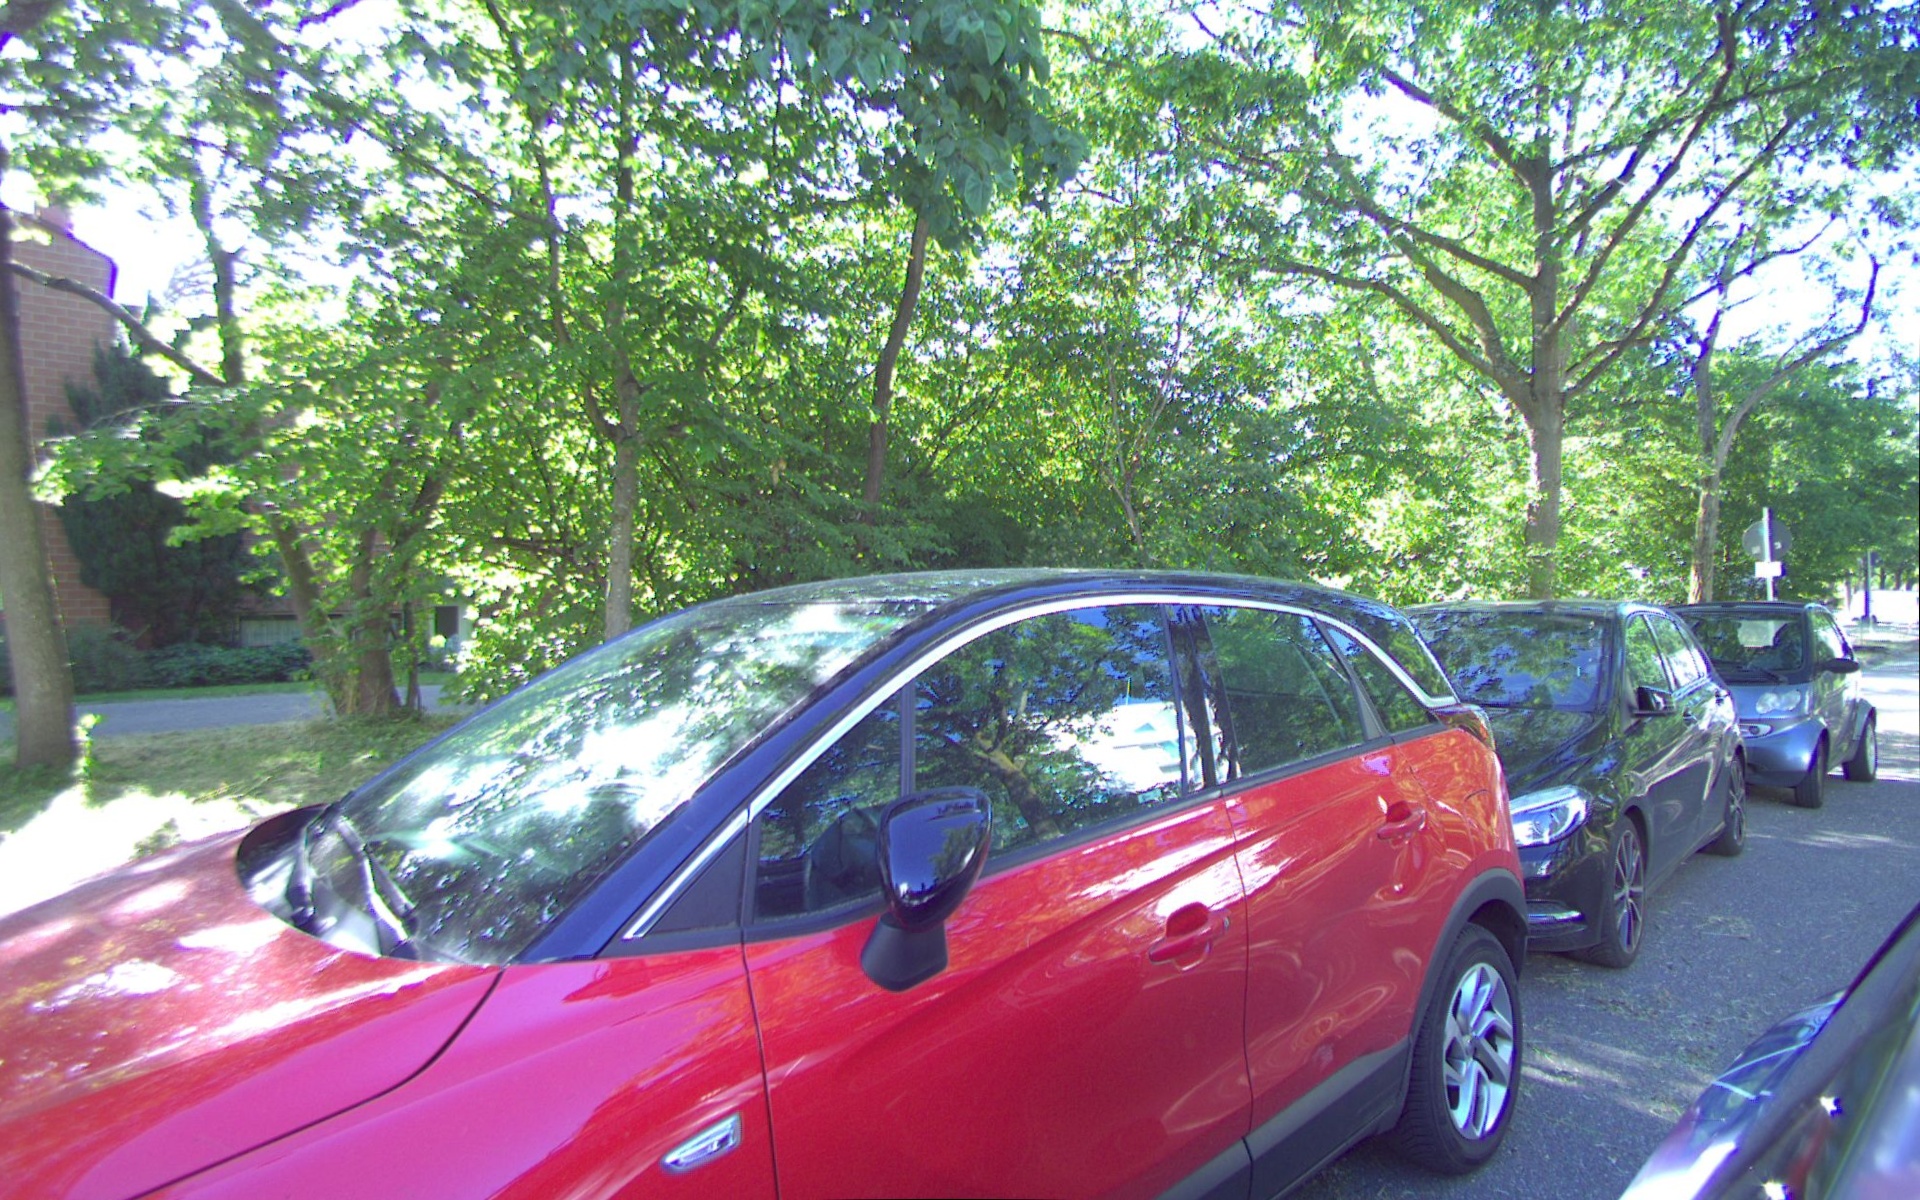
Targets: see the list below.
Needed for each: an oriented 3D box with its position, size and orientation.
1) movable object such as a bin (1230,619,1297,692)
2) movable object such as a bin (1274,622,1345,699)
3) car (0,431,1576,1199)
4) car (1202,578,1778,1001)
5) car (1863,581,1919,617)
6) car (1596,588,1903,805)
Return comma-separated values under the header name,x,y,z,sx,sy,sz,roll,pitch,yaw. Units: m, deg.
name,x,y,z,sx,sy,sz,roll,pitch,yaw
movable object such as a bin,4.175,0.751,13.920,0.454,0.891,0.728,-7,6,-35
movable object such as a bin,4.592,0.780,13.310,0.454,0.891,0.728,-7,6,-35
car,-0.199,0.664,2.408,3.995,1.594,1.681,0,-1,-41
car,3.225,0.689,5.722,4.081,1.528,1.713,0,-1,-44
car,57.253,-0.037,60.116,1.966,2.030,5.262,0,1,-43
car,6.725,0.683,8.572,2.629,1.528,1.497,0,-1,-39
